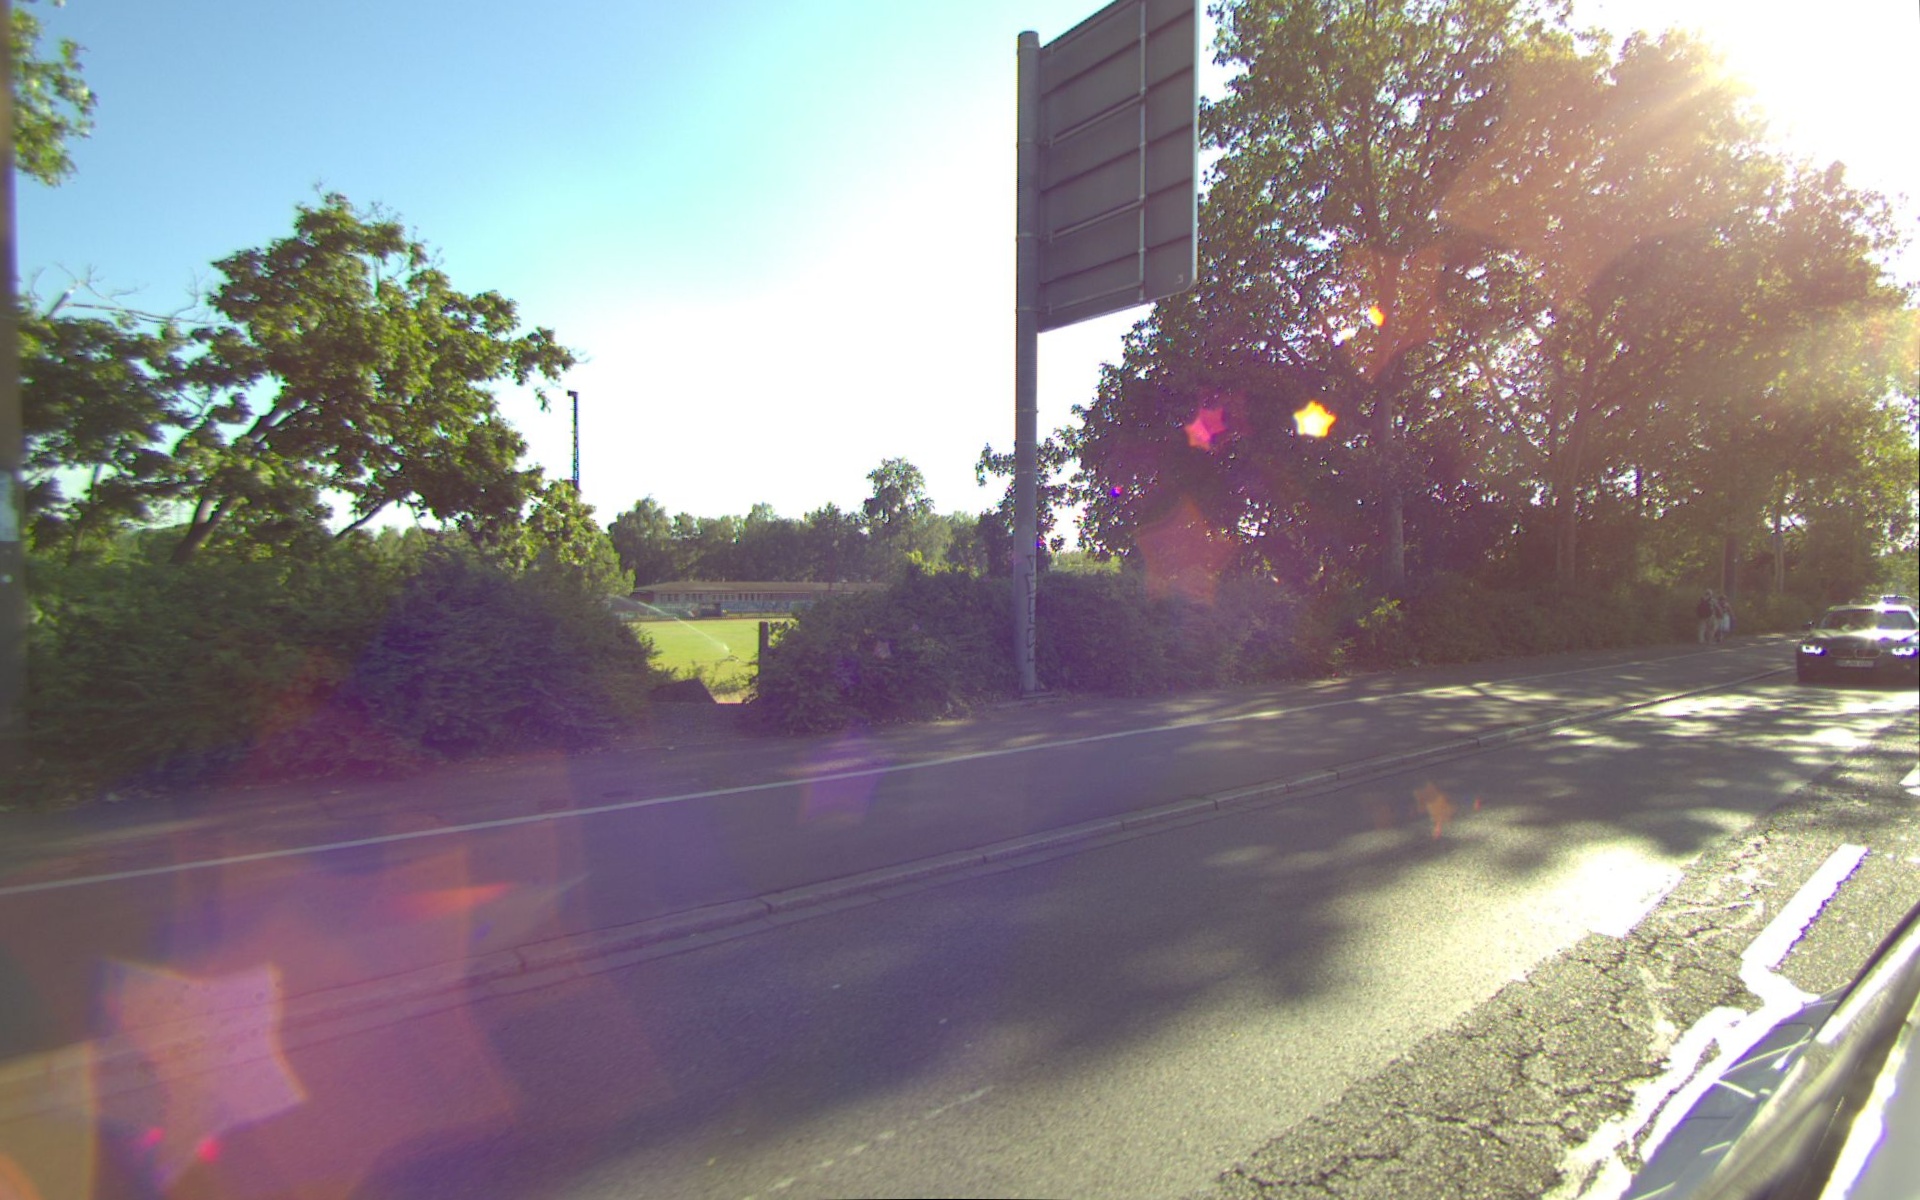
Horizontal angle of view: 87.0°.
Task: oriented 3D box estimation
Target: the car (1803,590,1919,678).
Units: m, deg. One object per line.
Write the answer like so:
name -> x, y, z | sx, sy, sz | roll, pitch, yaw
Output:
car -> 17.728, 0.567, 19.454 | 4.510, 1.485, 1.867 | -1, 1, -44

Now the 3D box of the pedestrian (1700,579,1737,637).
pedestrian -> 23.062, 0.227, 30.766 | 0.799, 1.729, 0.723 | 0, 2, -42

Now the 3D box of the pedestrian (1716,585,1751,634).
pedestrian -> 24.451, 0.304, 31.988 | 0.709, 1.498, 0.724 | 0, 2, -42
